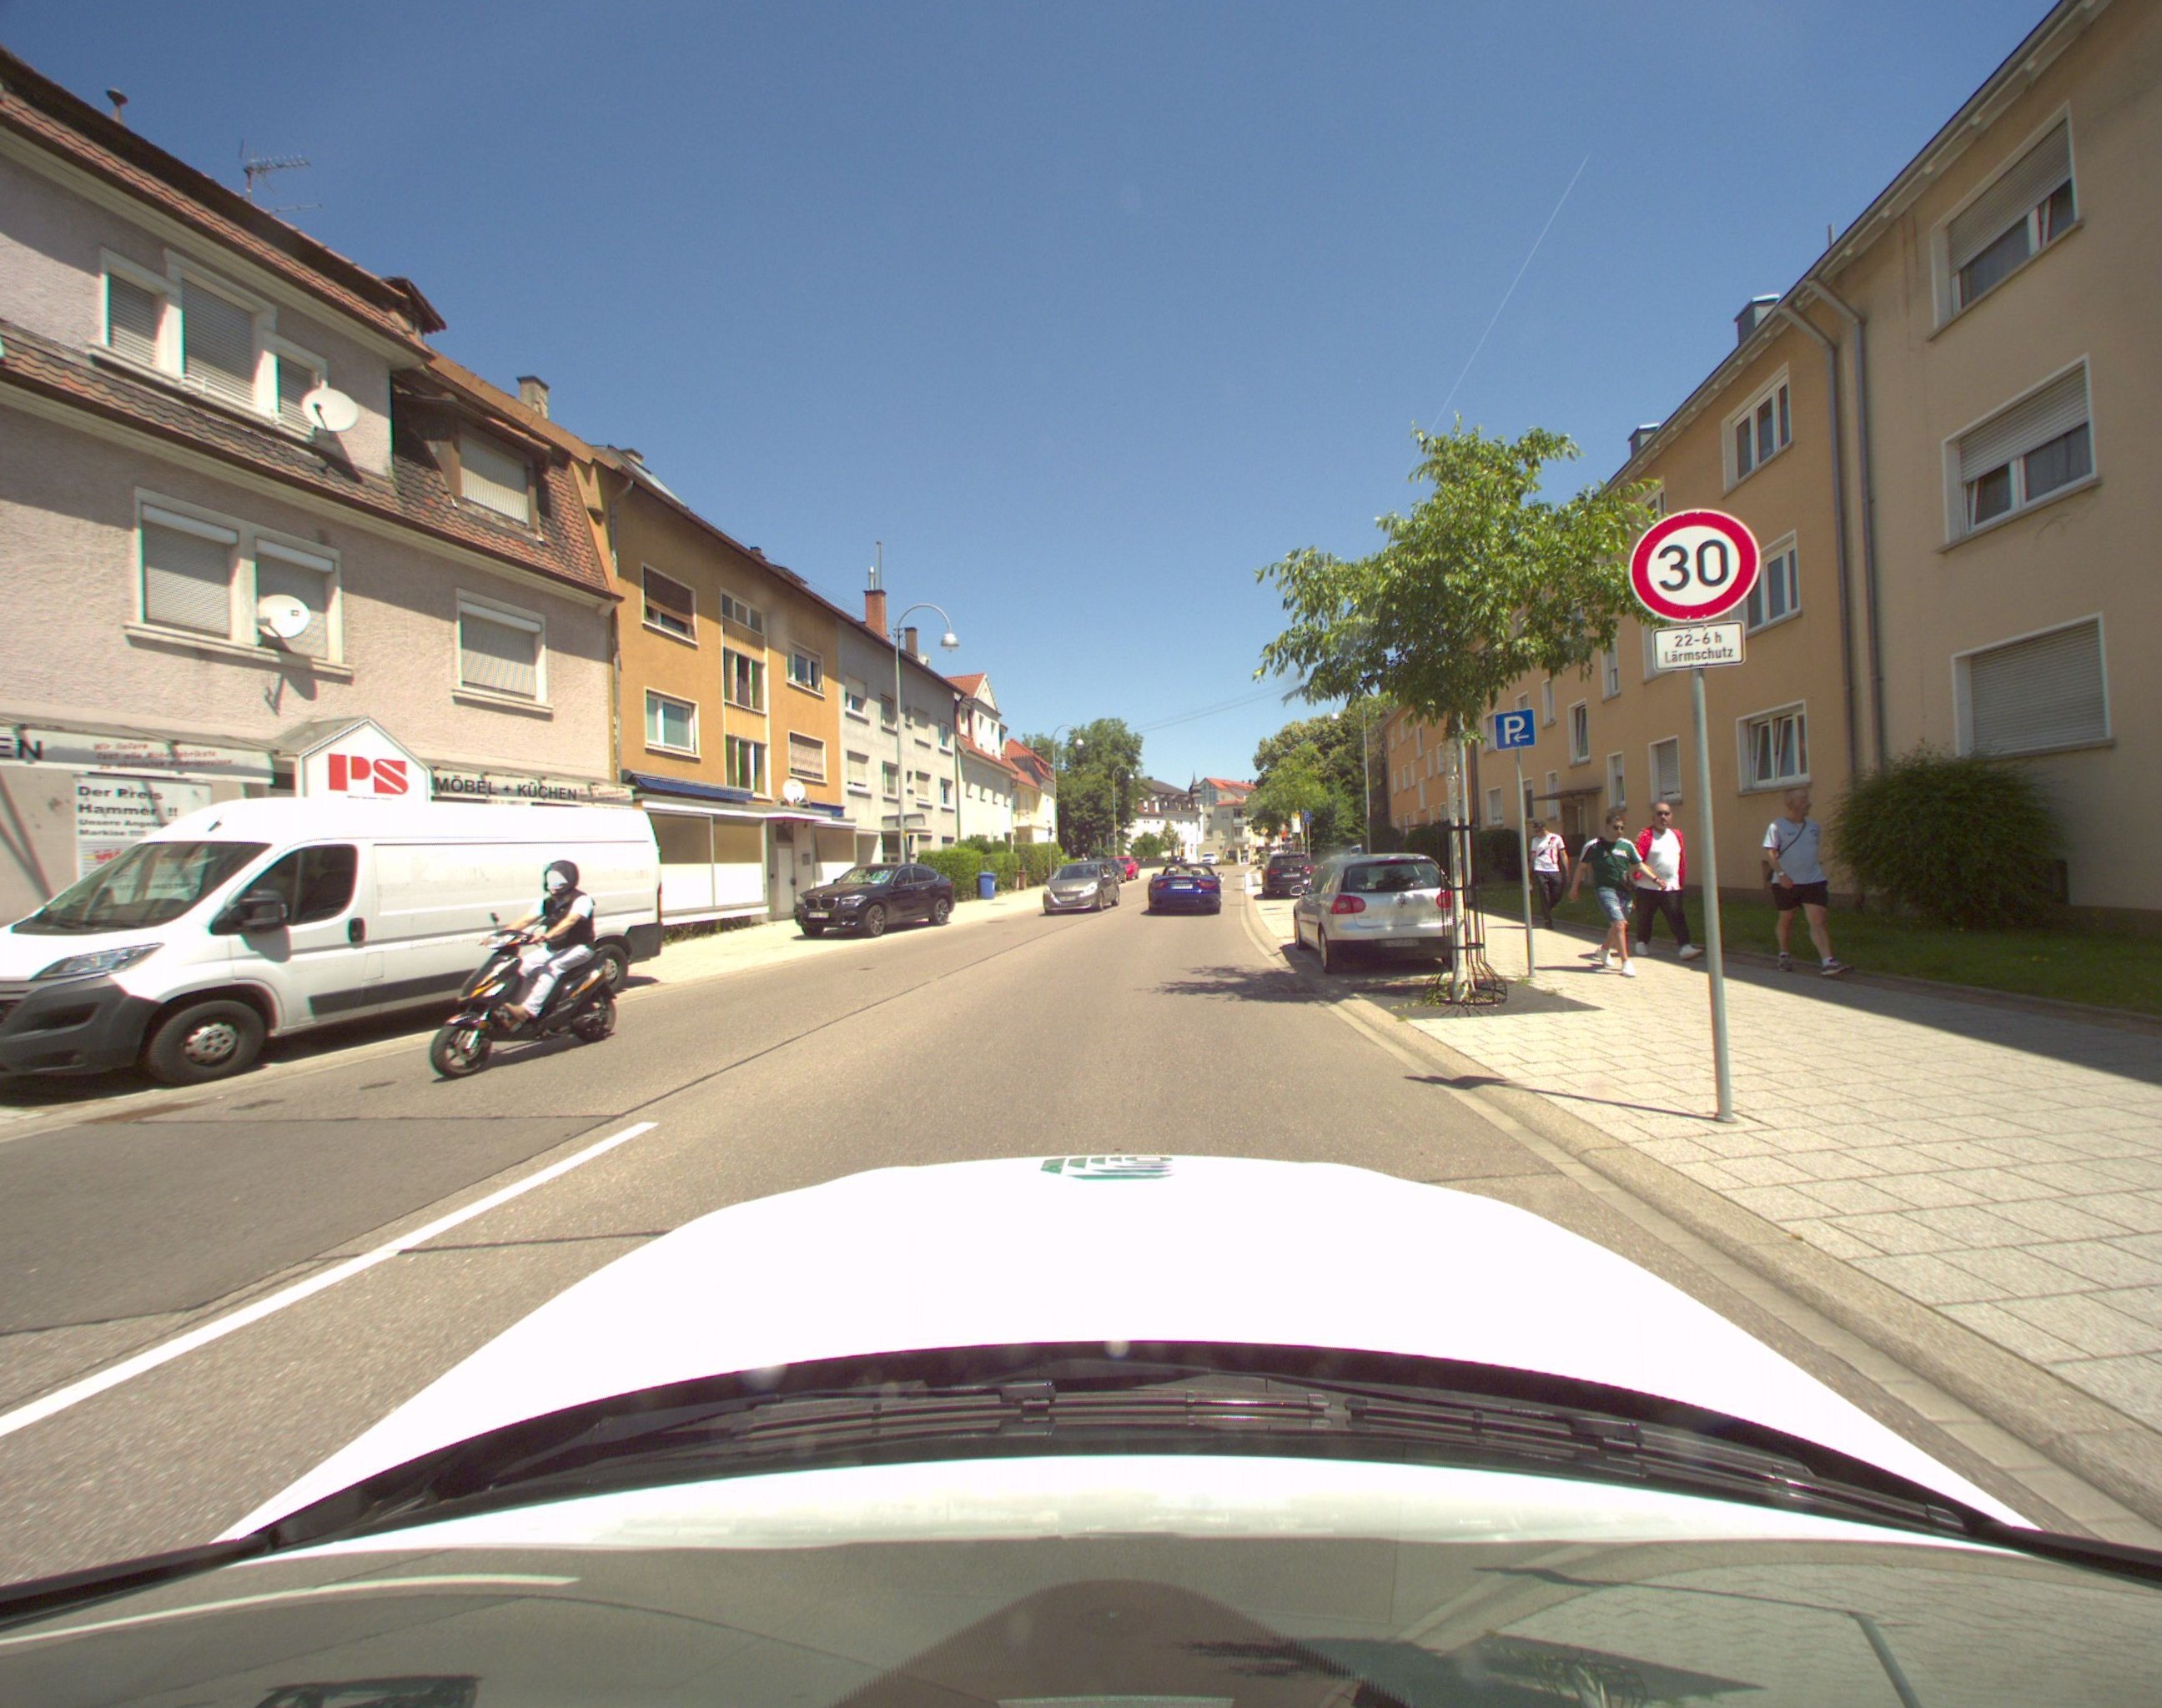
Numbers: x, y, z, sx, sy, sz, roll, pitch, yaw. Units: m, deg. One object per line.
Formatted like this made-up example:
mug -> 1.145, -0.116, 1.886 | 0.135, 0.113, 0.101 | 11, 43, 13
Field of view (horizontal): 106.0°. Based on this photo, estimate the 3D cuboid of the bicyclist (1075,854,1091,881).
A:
bicyclist -> 0.112, 0.857, 51.059 | 0.777, 1.659, 0.837 | -3, -1, 9

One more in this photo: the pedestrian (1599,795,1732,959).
pedestrian -> 6.948, 0.263, 9.747 | 0.783, 1.811, 1.008 | -5, -1, 7

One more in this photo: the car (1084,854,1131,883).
car -> 1.563, 0.763, 45.980 | 1.851, 1.461, 5.323 | -1, 1, 11

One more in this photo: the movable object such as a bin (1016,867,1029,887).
movable object such as a bin -> -2.975, 1.173, 41.129 | 0.464, 0.990, 0.616 | -3, 0, 11

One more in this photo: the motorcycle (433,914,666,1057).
motorcycle -> -4.693, 1.115, 7.366 | 0.602, 1.000, 1.806 | -3, -1, 14

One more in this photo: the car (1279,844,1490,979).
car -> 4.072, 0.705, 11.752 | 1.803, 1.477, 4.516 | -4, -1, 7

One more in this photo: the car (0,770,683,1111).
car -> -7.571, 0.618, 9.071 | 2.103, 2.449, 6.141 | -1, 0, 14

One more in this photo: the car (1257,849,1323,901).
car -> 7.079, 0.646, 28.016 | 1.822, 1.504, 5.079 | -5, -1, 11

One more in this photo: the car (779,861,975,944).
car -> -4.738, 1.063, 19.907 | 2.068, 1.614, 5.135 | -1, 0, 20

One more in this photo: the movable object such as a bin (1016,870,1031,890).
movable object such as a bin -> -2.791, 1.256, 39.532 | 0.491, 0.912, 0.708 | -3, 0, 11

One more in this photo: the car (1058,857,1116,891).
car -> 0.349, 0.930, 39.576 | 1.774, 1.459, 4.215 | 0, 1, 15

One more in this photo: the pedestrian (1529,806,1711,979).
pedestrian -> 6.010, 0.415, 9.190 | 1.165, 1.733, 1.193 | -5, -2, 6

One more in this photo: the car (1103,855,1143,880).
car -> 2.717, 0.840, 51.808 | 1.865, 1.479, 4.753 | 0, 0, 11

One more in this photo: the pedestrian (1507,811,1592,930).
pedestrian -> 7.717, 0.265, 13.453 | 0.816, 1.853, 0.986 | -3, -1, 7

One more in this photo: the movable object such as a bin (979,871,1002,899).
movable object such as a bin -> -3.608, 1.224, 32.498 | 0.668, 1.048, 0.654 | -3, 0, 10

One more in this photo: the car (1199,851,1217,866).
car -> 14.583, 0.472, 93.235 | 1.866, 1.597, 4.372 | -4, 0, 10

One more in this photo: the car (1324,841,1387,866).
car -> 21.444, -0.016, 63.722 | 4.319, 1.839, 1.751 | -1, -1, 3

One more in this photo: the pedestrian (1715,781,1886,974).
pedestrian -> 7.134, 0.224, 8.141 | 0.789, 1.778, 1.011 | -3, -1, 7

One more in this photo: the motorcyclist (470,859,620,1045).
motorcyclist -> -4.723, 0.824, 7.225 | 0.597, 1.524, 0.899 | -3, -1, 13

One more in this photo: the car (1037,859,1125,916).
car -> 0.100, 0.961, 24.732 | 1.719, 1.411, 4.014 | -4, 0, 13

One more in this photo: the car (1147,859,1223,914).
car -> 2.997, 0.841, 22.884 | 1.859, 1.342, 4.607 | -1, -1, 9
